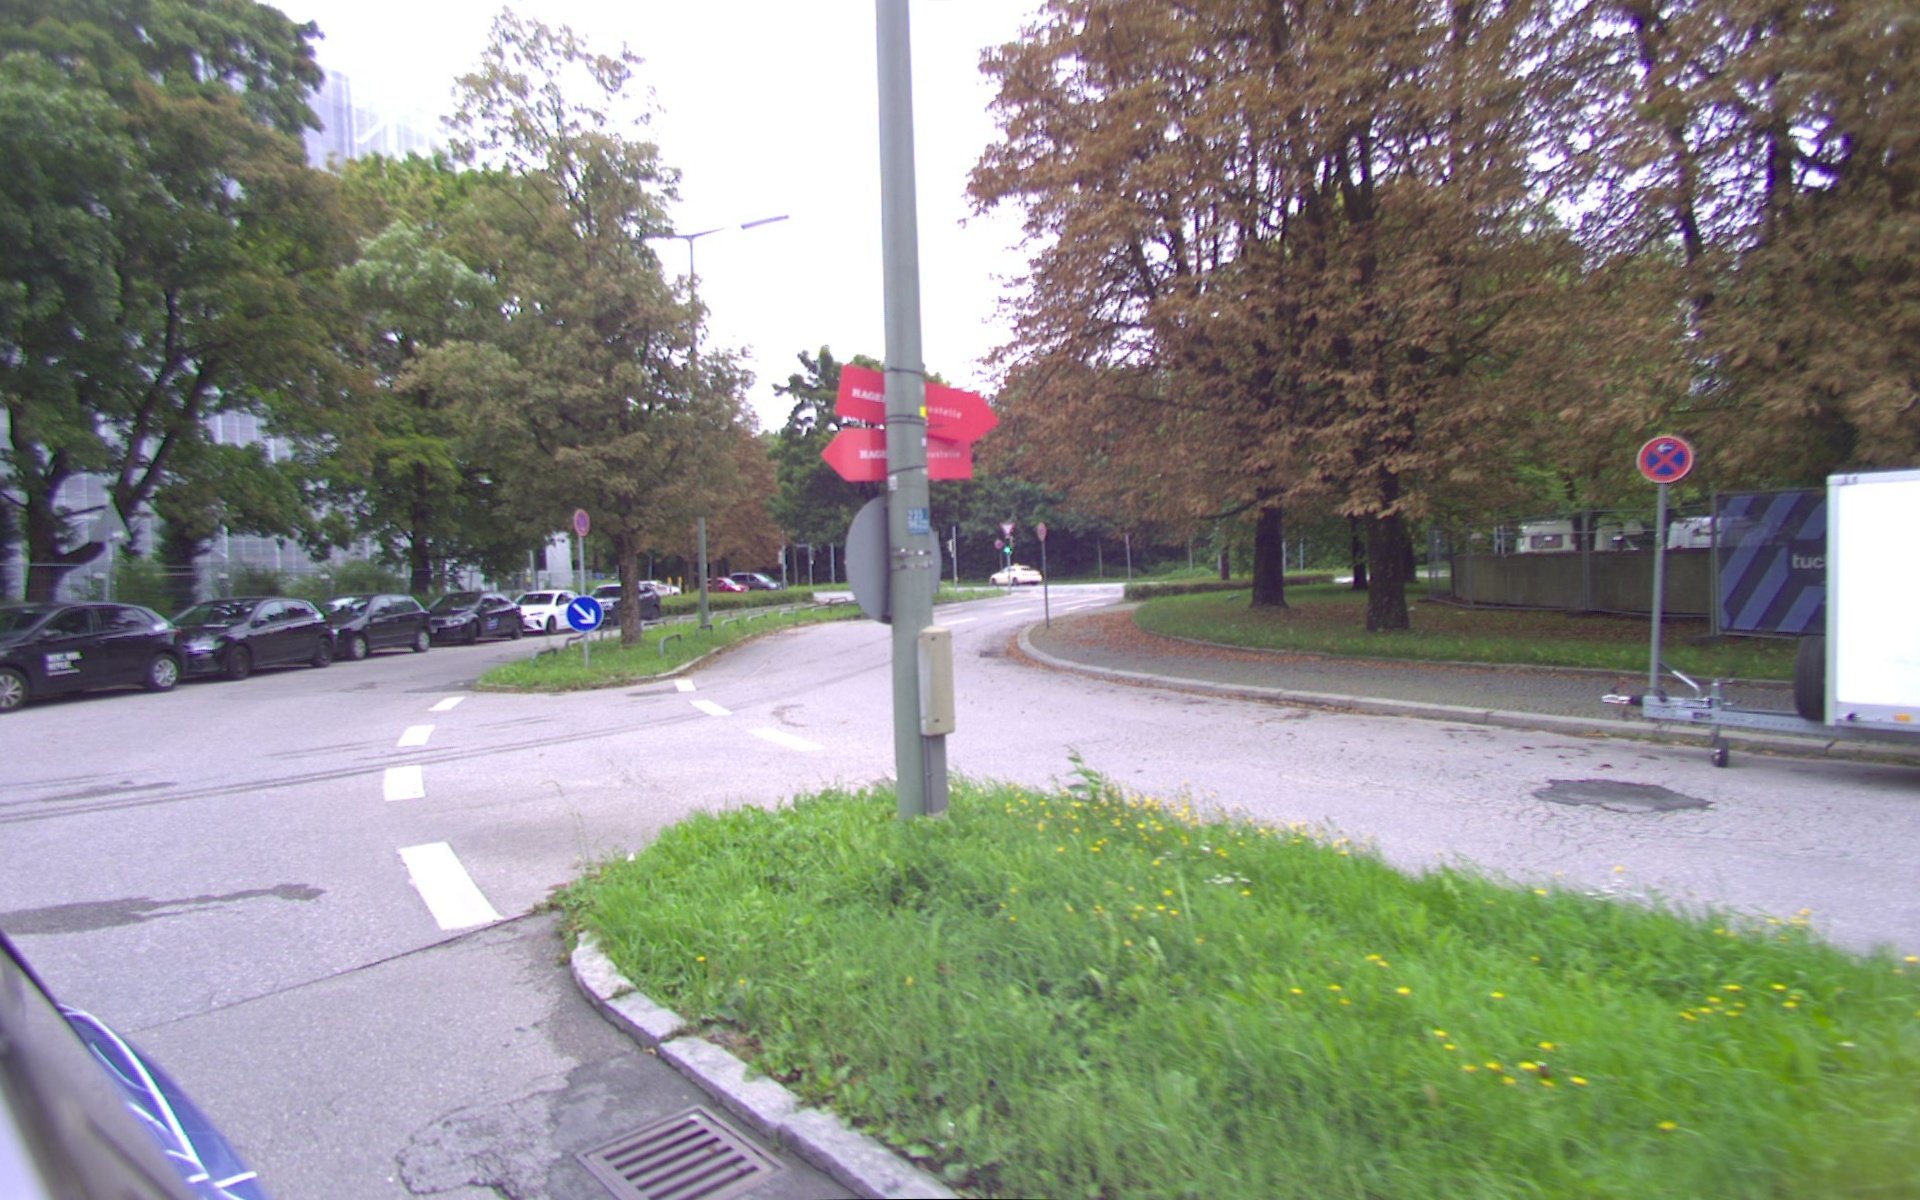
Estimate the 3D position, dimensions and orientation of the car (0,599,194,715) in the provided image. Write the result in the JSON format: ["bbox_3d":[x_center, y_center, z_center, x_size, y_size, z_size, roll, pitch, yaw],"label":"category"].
[{"bbox_3d":[-13.346,0.748,14.291,1.972,1.443,4.042,0,1,1],"label":"car"}]

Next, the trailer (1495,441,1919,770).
[{"bbox_3d":[6.558,0.001,6.849,1.785,2.028,4.845,-3,1,-36],"label":"trailer"}]

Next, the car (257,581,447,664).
[{"bbox_3d":[-13.833,0.447,23.341,1.972,1.718,4.000,-1,1,0],"label":"car"}]

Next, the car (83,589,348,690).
[{"bbox_3d":[-13.409,0.621,18.588,1.971,1.552,4.002,-2,1,-2],"label":"car"}]

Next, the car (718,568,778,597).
[{"bbox_3d":[-16.287,-1.366,77.760,3.969,2.028,1.987,-2,1,20],"label":"car"}]

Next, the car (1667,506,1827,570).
[{"bbox_3d":[36.110,-2.811,46.639,5.427,2.600,2.059,-2,1,25],"label":"car"}]

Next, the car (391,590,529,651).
[{"bbox_3d":[-13.730,0.506,28.063,1.815,1.471,4.006,-3,1,0],"label":"car"}]

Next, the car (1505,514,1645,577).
[{"bbox_3d":[29.839,-2.620,49.322,5.565,2.754,2.059,-2,1,25],"label":"car"}]

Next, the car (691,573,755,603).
[{"bbox_3d":[-17.555,-0.898,75.028,4.126,2.028,1.987,-2,1,20],"label":"car"}]

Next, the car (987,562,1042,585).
[{"bbox_3d":[3.924,-1.911,73.814,1.861,1.557,4.869,-2,1,-26],"label":"car"}]

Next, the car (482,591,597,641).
[{"bbox_3d":[-13.565,0.471,32.934,1.778,1.394,4.215,-3,1,3],"label":"car"}]

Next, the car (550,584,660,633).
[{"bbox_3d":[-13.111,0.309,37.704,1.872,1.618,4.381,-3,-1,11],"label":"car"}]
